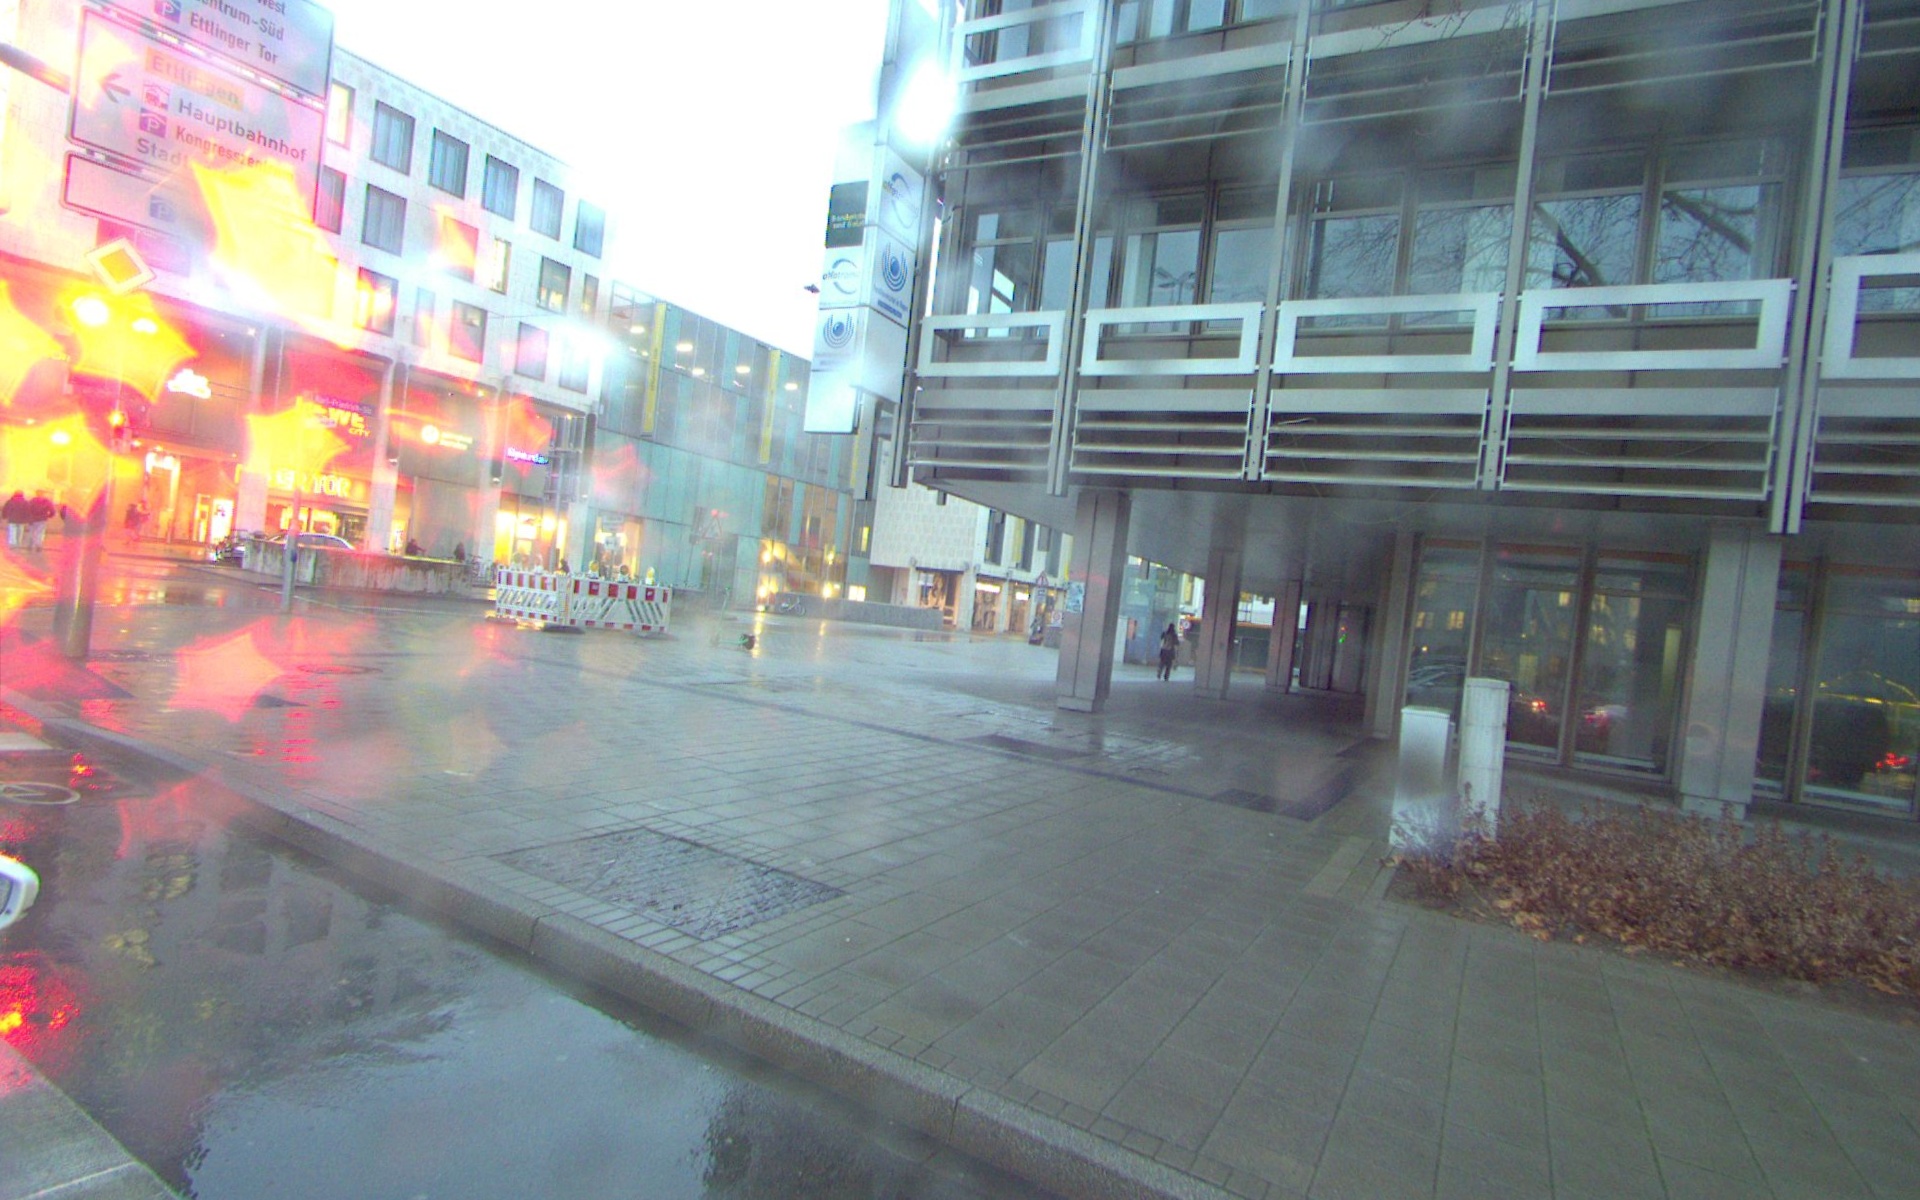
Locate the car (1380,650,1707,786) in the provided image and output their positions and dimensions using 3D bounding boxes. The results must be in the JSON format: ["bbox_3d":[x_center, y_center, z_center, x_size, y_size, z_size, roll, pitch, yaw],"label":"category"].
[{"bbox_3d":[8.680,1.670,15.202,3.935,1.327,1.994,6,1,33],"label":"car"}]

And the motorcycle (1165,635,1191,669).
[{"bbox_3d":[9.874,2.355,45.526,0.584,1.368,1.493,7,-1,29],"label":"motorcycle"}]

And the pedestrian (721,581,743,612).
[{"bbox_3d":[-13.114,-0.204,57.932,0.770,1.703,0.742,6,-1,38],"label":"pedestrian"}]

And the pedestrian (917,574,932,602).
[{"bbox_3d":[-2.275,-0.781,64.104,0.573,1.703,0.542,6,-1,38],"label":"pedestrian"}]

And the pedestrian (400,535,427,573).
[{"bbox_3d":[-26.517,-2.214,48.786,0.519,1.705,0.894,6,0,31],"label":"pedestrian"}]

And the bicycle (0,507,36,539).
[{"bbox_3d":[-36.521,-3.002,38.436,0.515,1.082,1.651,7,-2,28],"label":"bicycle"}]

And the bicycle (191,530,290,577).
[{"bbox_3d":[-26.348,-1.684,36.895,0.941,1.375,2.718,6,-1,28],"label":"bicycle"}]

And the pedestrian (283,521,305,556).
[{"bbox_3d":[-34.226,-3.160,51.706,0.729,1.740,0.733,6,1,-31],"label":"pedestrian"}]

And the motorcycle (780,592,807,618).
[{"bbox_3d":[-10.144,0.297,61.203,0.585,1.368,1.491,7,-1,36],"label":"motorcycle"}]

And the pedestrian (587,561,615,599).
[{"bbox_3d":[-17.173,-0.941,48.110,0.770,1.703,0.742,6,-1,38],"label":"pedestrian"}]

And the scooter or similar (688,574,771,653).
[{"bbox_3d":[-4.634,0.265,20.213,1.470,1.368,0.593,7,-1,32],"label":"scooter or similar"}]

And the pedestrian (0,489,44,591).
[{"bbox_3d":[-24.177,-1.531,25.721,0.745,2.469,0.716,7,-1,31],"label":"pedestrian"}]

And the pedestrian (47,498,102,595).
[{"bbox_3d":[-23.961,-1.443,27.223,0.778,2.477,0.694,7,-1,32],"label":"pedestrian"}]

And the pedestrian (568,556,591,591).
[{"bbox_3d":[-20.609,-1.426,54.525,0.786,1.760,0.767,6,1,-43],"label":"pedestrian"}]

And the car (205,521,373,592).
[{"bbox_3d":[-21.688,-1.381,32.660,1.968,1.636,3.994,6,-2,33],"label":"car"}]

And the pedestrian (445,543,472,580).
[{"bbox_3d":[-24.461,-1.870,49.057,0.770,1.703,0.742,6,-1,38],"label":"pedestrian"}]

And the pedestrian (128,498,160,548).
[{"bbox_3d":[-35.497,-3.330,43.765,0.688,2.039,0.845,7,1,40],"label":"pedestrian"}]

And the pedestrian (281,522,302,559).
[{"bbox_3d":[-32.429,-2.895,48.811,0.360,1.706,0.616,7,1,28],"label":"pedestrian"}]

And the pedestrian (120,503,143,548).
[{"bbox_3d":[-32.563,-2.931,39.540,0.480,1.683,0.454,6,1,-28],"label":"pedestrian"}]

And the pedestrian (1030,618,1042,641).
[{"bbox_3d":[5.992,2.349,79.423,0.573,1.703,0.542,6,-1,38],"label":"pedestrian"}]

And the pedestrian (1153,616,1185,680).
[{"bbox_3d":[6.147,1.411,29.517,0.678,1.796,0.660,7,-1,16],"label":"pedestrian"}]

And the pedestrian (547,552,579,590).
[{"bbox_3d":[-19.824,-1.434,50.273,0.810,1.703,1.032,6,-1,31],"label":"pedestrian"}]

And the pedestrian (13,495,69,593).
[{"bbox_3d":[-24.340,-1.485,26.638,0.745,2.469,0.691,7,-1,31],"label":"pedestrian"}]
